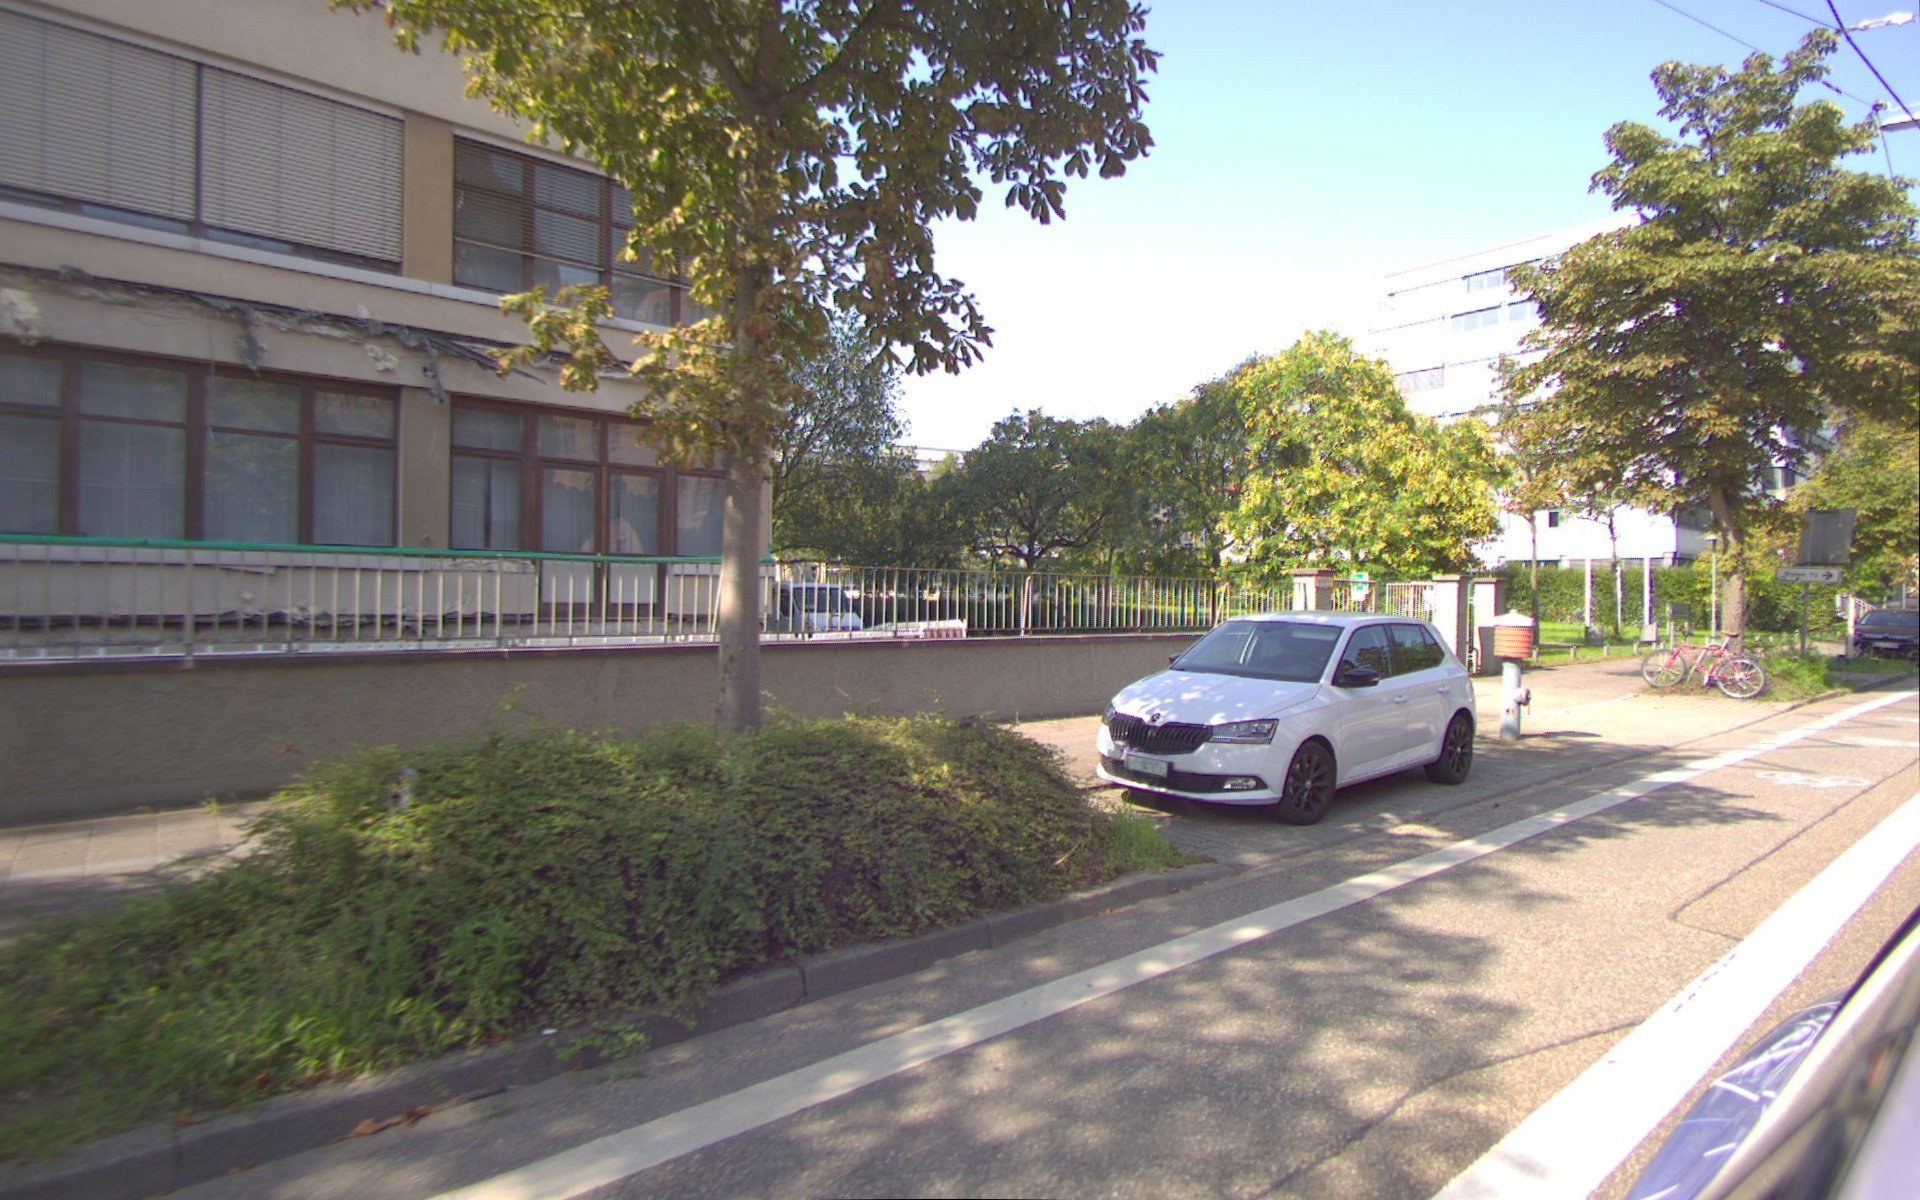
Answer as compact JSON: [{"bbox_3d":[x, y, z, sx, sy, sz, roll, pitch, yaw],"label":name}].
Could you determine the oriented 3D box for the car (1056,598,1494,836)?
[{"bbox_3d":[2.731,0.736,8.301,3.920,1.448,1.643,0,1,-42],"label":"car"}]

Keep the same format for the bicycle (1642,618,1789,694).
[{"bbox_3d":[12.248,0.874,16.438,0.782,1.077,1.772,0,2,-41],"label":"bicycle"}]

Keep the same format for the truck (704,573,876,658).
[{"bbox_3d":[-5.166,0.385,29.778,2.082,2.243,6.582,0,0,-38],"label":"truck"}]

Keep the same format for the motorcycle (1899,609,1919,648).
[{"bbox_3d":[31.382,0.922,32.320,0.632,1.240,1.993,0,0,-14],"label":"motorcycle"}]

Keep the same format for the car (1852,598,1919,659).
[{"bbox_3d":[25.994,0.760,27.730,4.359,1.504,1.744,1,1,-41],"label":"car"}]
